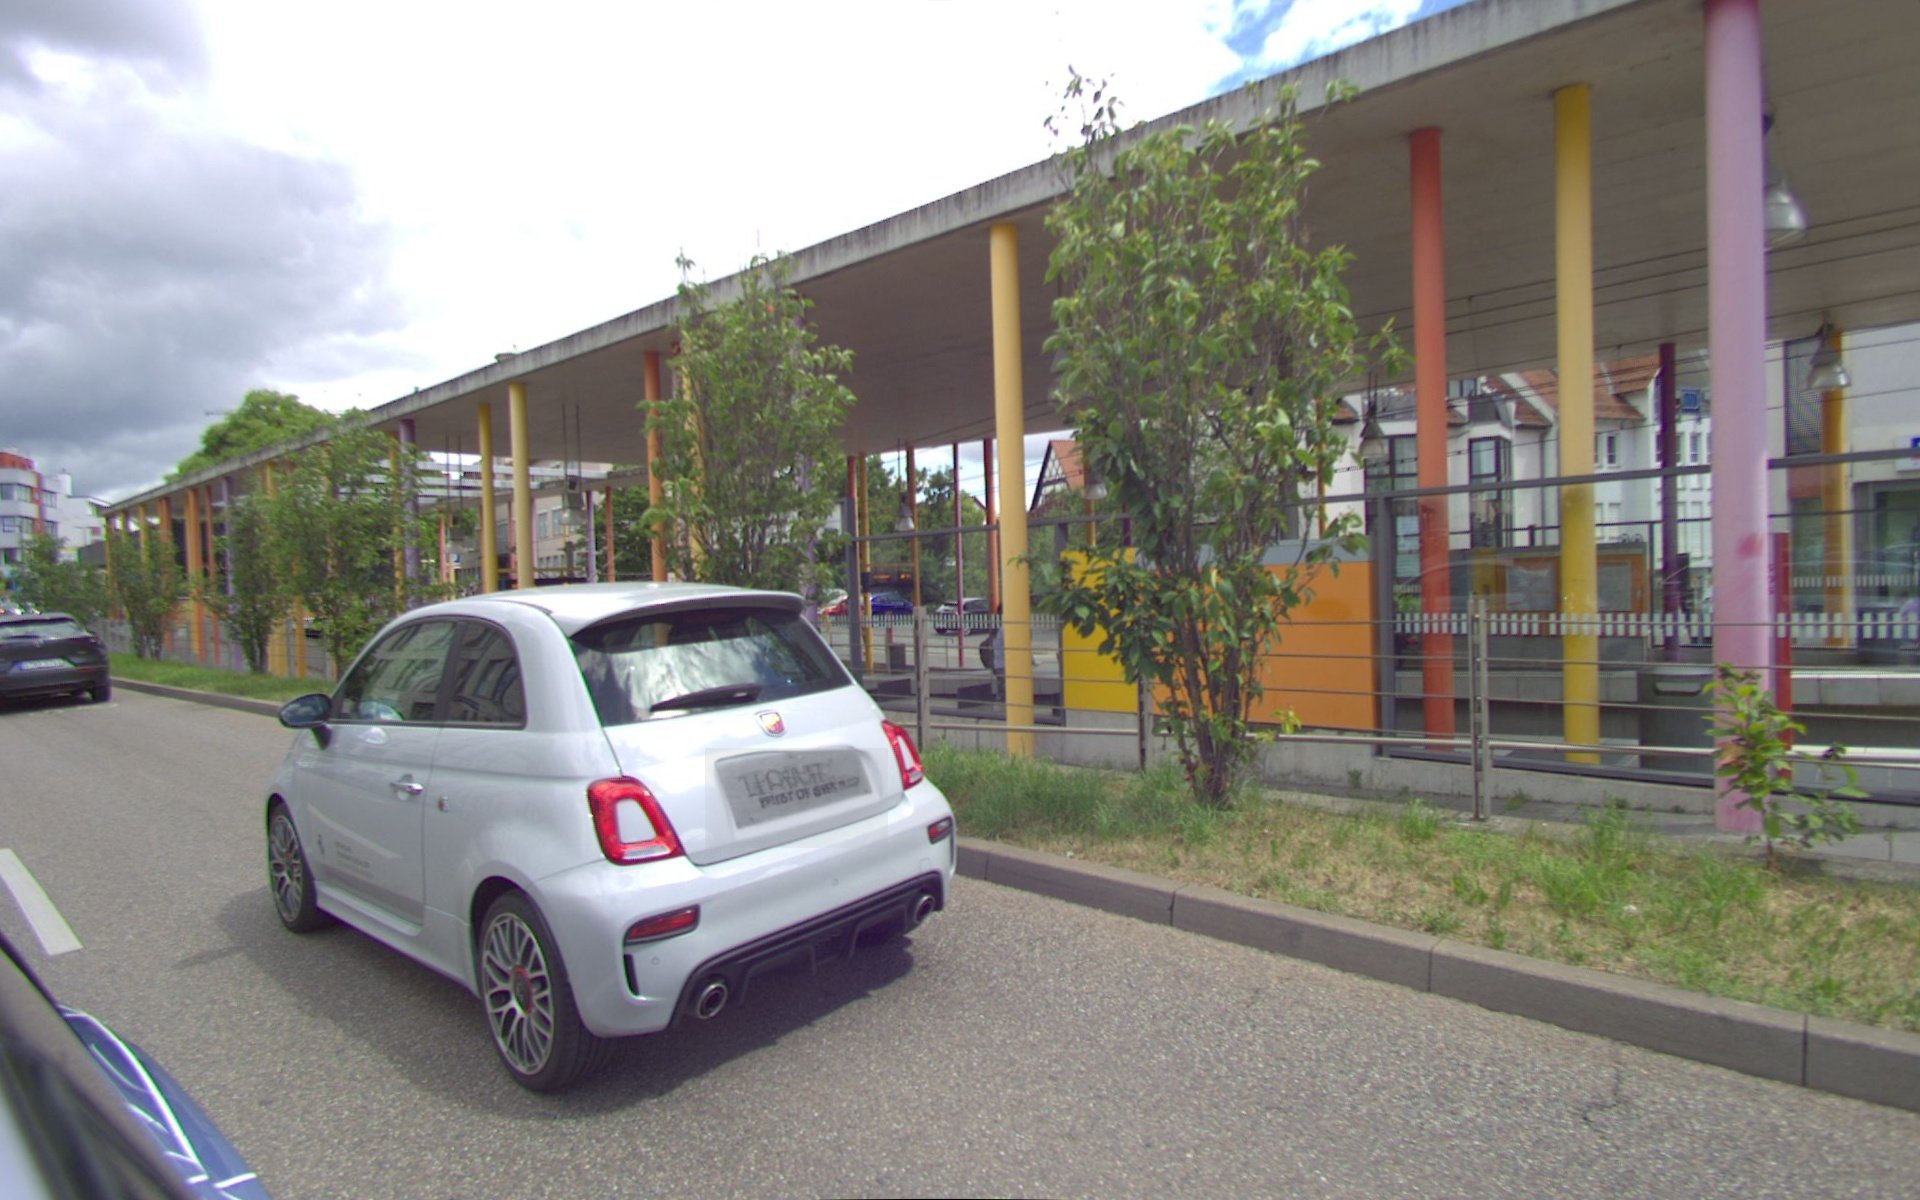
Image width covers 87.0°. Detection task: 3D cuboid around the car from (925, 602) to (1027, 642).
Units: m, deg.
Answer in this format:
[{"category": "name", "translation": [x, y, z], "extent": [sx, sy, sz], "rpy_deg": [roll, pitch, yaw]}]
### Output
[{"category": "car", "translation": [0.659, 0.865, 41.294], "extent": [3.933, 1.347, 1.575], "rpy_deg": [-4, 3, -33]}]

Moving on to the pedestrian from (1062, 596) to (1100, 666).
[{"category": "pedestrian", "translation": [3.404, 0.867, 28.519], "extent": [0.800, 1.897, 0.635], "rpy_deg": [0, 3, 42]}]

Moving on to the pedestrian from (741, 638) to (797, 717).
[{"category": "pedestrian", "translation": [-2.792, 1.122, 14.779], "extent": [0.484, 1.091, 0.559], "rpy_deg": [-3, 1, 41]}]

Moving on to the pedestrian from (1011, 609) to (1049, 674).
[{"category": "pedestrian", "translation": [1.897, 1.119, 27.430], "extent": [0.730, 1.674, 0.635], "rpy_deg": [0, 3, 42]}]

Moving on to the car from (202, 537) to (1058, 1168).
[{"category": "car", "translation": [-1.726, 0.649, 4.432], "extent": [3.998, 1.519, 1.752], "rpy_deg": [-2, 0, 41]}]

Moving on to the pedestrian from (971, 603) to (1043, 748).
[{"category": "pedestrian", "translation": [0.565, 0.886, 12.072], "extent": [0.548, 1.645, 0.526], "rpy_deg": [-3, 1, 41]}]

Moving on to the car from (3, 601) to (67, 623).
[{"category": "car", "translation": [-82.466, 1.055, 90.286], "extent": [1.820, 1.674, 3.996], "rpy_deg": [-2, 3, 4]}]

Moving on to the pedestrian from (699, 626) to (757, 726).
[{"category": "pedestrian", "translation": [-3.981, 1.293, 17.377], "extent": [0.636, 1.626, 0.623], "rpy_deg": [-3, 1, 43]}]

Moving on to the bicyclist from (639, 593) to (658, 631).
[{"category": "bicyclist", "translation": [-13.685, 0.525, 44.489], "extent": [0.682, 1.605, 0.478], "rpy_deg": [1, 4, 45]}]

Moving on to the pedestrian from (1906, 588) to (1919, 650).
[{"category": "pedestrian", "translation": [16.389, 0.314, 17.115], "extent": [0.562, 1.030, 0.359], "rpy_deg": [1, 4, 44]}]

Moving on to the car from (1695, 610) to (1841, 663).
[{"category": "car", "translation": [22.317, 0.984, 27.962], "extent": [3.653, 1.335, 1.653], "rpy_deg": [1, 1, -25]}]

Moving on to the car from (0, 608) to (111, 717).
[{"category": "car", "translation": [-15.660, 0.999, 16.804], "extent": [4.253, 1.532, 1.707], "rpy_deg": [-2, 3, 42]}]

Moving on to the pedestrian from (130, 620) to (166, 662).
[{"category": "pedestrian", "translation": [-32.769, 1.653, 40.848], "extent": [0.814, 1.576, 0.918], "rpy_deg": [0, 3, 40]}]

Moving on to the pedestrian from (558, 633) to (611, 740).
[{"category": "pedestrian", "translation": [-6.856, 1.556, 18.465], "extent": [0.710, 1.843, 0.580], "rpy_deg": [1, 3, 44]}]

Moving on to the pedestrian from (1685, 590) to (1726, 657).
[{"category": "pedestrian", "translation": [15.057, 0.463, 20.458], "extent": [0.521, 1.314, 0.511], "rpy_deg": [-1, 3, 18]}]

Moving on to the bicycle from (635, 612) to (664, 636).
[{"category": "bicycle", "translation": [-13.687, 1.034, 44.536], "extent": [1.613, 0.970, 0.478], "rpy_deg": [1, 4, 45]}]

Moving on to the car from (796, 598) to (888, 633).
[{"category": "car", "translation": [-5.603, 0.718, 48.153], "extent": [3.933, 1.347, 1.731], "rpy_deg": [-4, 3, -33]}]
